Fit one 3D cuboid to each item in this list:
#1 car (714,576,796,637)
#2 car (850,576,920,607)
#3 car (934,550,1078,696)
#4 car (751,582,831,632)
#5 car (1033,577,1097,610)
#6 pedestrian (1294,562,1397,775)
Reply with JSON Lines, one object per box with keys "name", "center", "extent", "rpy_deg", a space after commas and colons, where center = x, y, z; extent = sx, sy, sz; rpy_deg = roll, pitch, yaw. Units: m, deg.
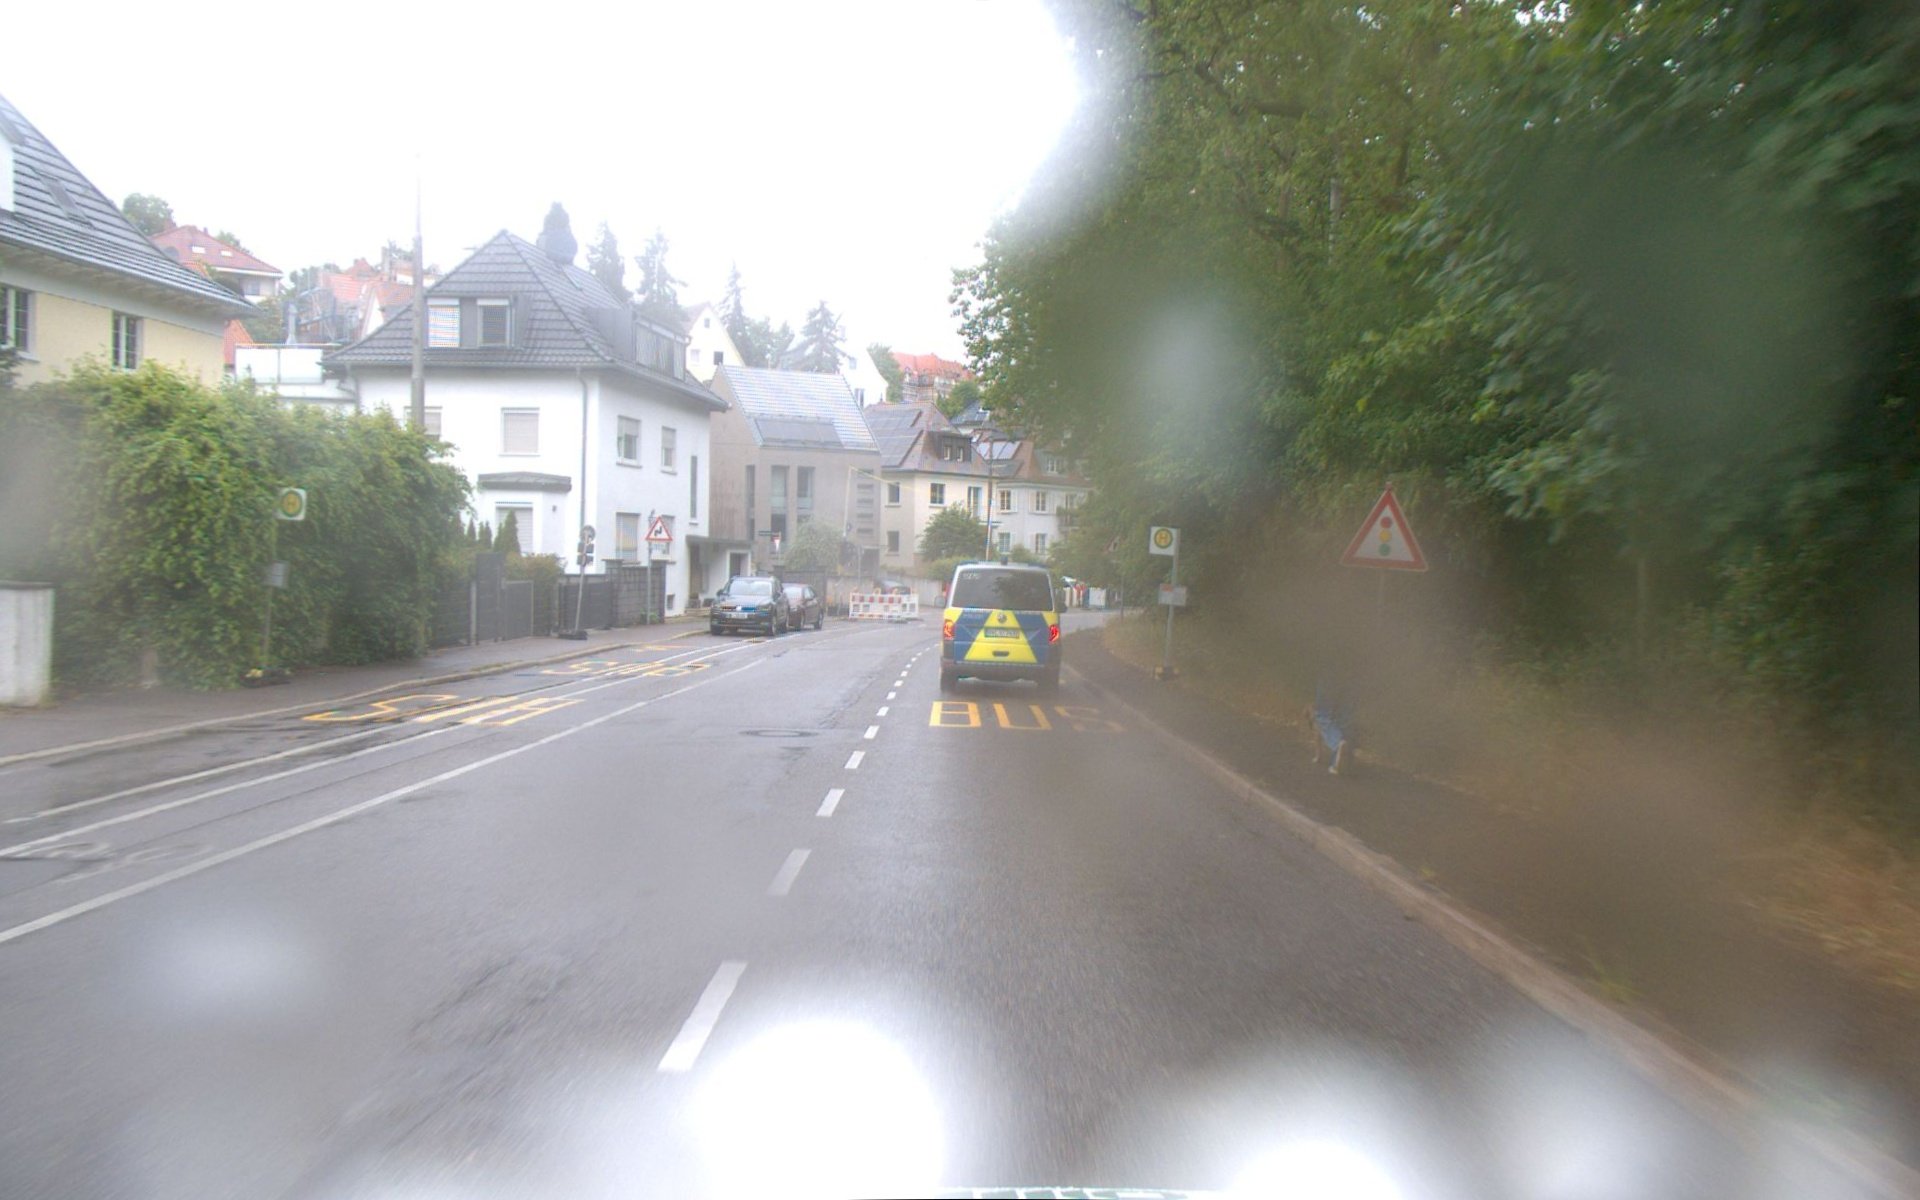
{"name": "car", "center": [-5.889, 0.139, 47.952], "extent": [1.718, 1.687, 4.406], "rpy_deg": [0, 1, 2]}
{"name": "car", "center": [-4.085, -0.490, 89.332], "extent": [1.820, 1.468, 3.947], "rpy_deg": [2, 2, -37]}
{"name": "car", "center": [0.645, 0.336, 26.447], "extent": [1.953, 2.049, 4.400], "rpy_deg": [3, 0, -2]}
{"name": "car", "center": [-5.420, 0.202, 53.430], "extent": [1.582, 1.465, 4.234], "rpy_deg": [2, 1, 8]}
{"name": "car", "center": [7.118, -0.446, 112.502], "extent": [3.914, 2.048, 1.826], "rpy_deg": [3, 1, 31]}
{"name": "pedestrian", "center": [3.069, 0.538, 13.215], "extent": [0.629, 1.639, 0.670], "rpy_deg": [1, -1, -1]}
